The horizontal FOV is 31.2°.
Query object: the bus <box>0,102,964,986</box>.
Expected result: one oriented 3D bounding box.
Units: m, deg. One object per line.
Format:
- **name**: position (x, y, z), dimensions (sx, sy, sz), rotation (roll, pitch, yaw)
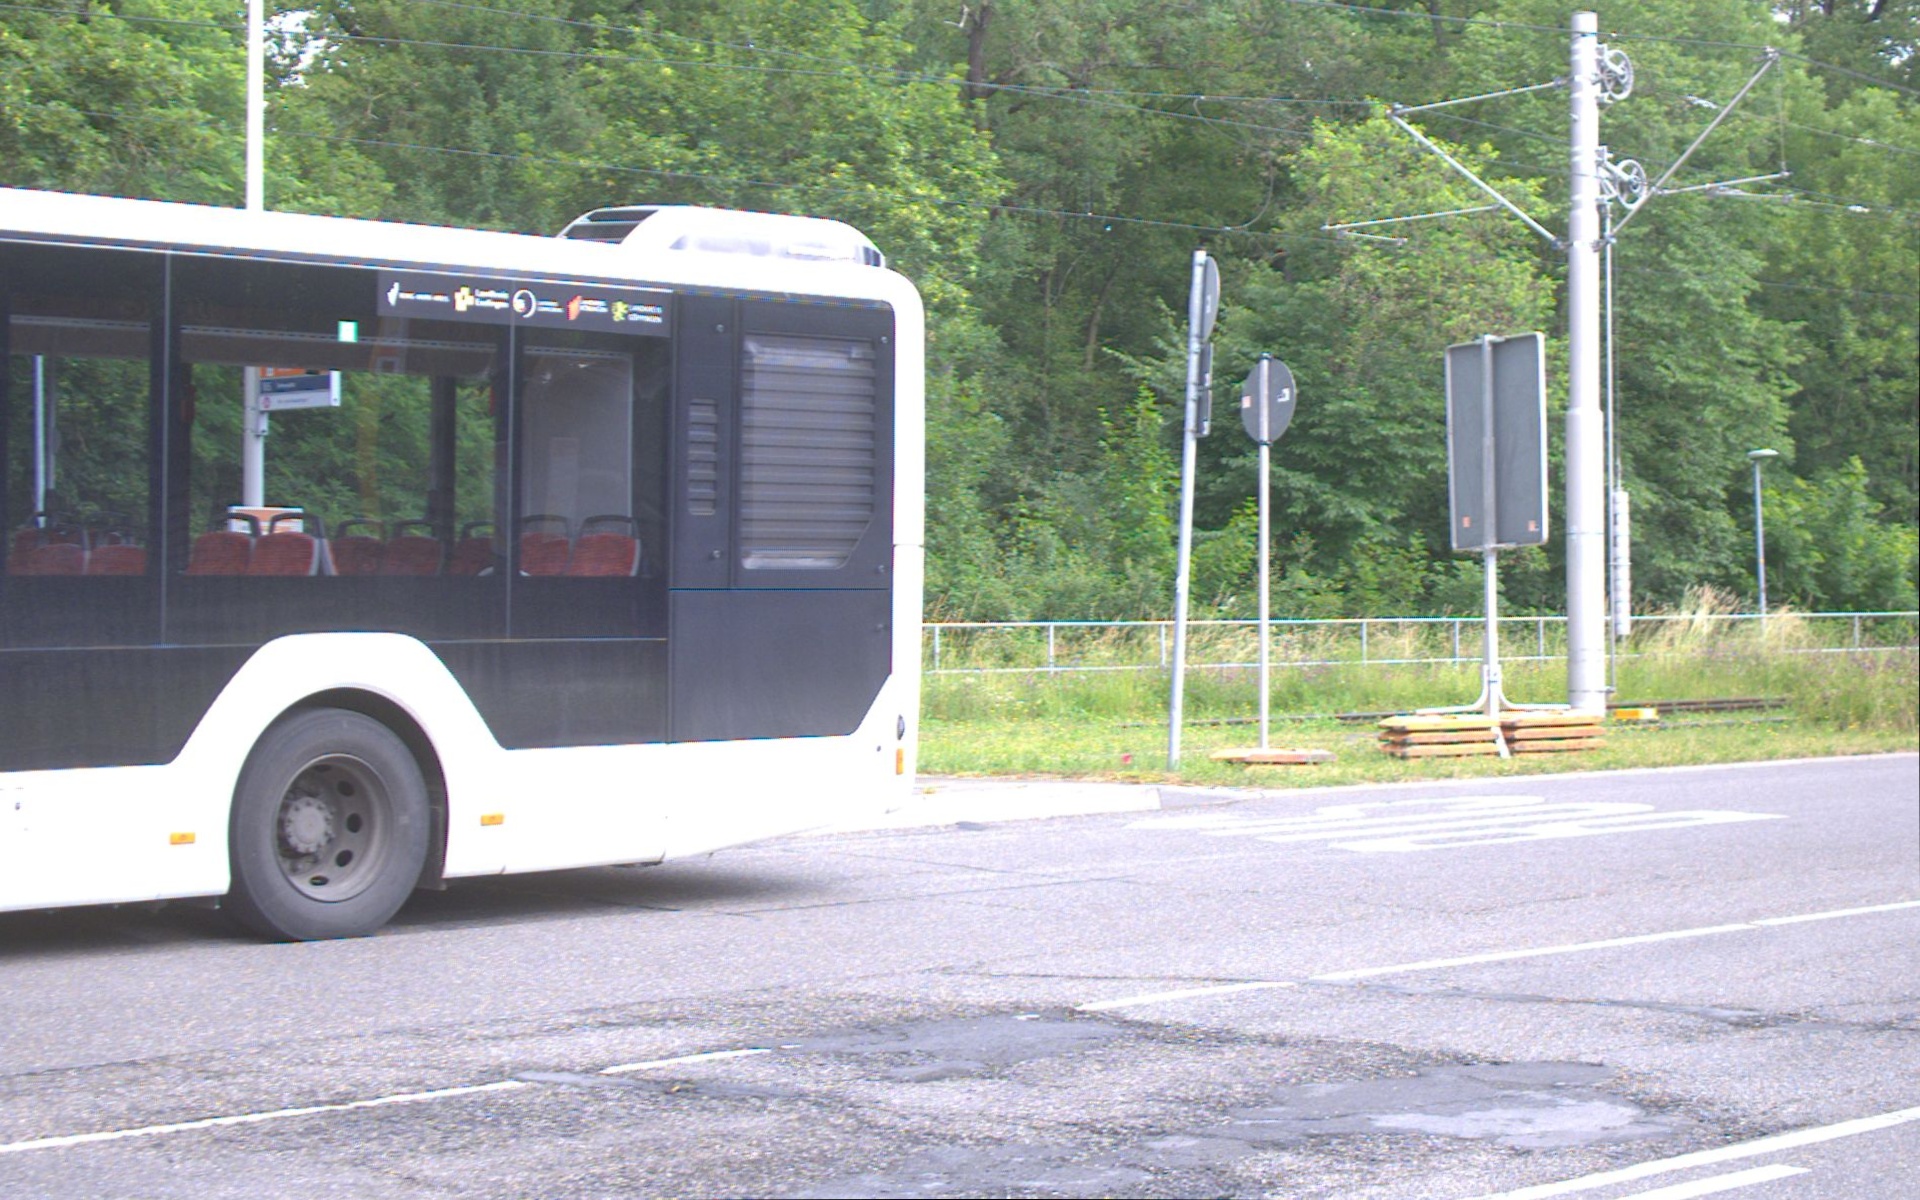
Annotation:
- **bus**: position (-5.211, -0.205, 12.558), dimensions (2.673, 3.192, 12.167), rotation (0, 0, 45)
